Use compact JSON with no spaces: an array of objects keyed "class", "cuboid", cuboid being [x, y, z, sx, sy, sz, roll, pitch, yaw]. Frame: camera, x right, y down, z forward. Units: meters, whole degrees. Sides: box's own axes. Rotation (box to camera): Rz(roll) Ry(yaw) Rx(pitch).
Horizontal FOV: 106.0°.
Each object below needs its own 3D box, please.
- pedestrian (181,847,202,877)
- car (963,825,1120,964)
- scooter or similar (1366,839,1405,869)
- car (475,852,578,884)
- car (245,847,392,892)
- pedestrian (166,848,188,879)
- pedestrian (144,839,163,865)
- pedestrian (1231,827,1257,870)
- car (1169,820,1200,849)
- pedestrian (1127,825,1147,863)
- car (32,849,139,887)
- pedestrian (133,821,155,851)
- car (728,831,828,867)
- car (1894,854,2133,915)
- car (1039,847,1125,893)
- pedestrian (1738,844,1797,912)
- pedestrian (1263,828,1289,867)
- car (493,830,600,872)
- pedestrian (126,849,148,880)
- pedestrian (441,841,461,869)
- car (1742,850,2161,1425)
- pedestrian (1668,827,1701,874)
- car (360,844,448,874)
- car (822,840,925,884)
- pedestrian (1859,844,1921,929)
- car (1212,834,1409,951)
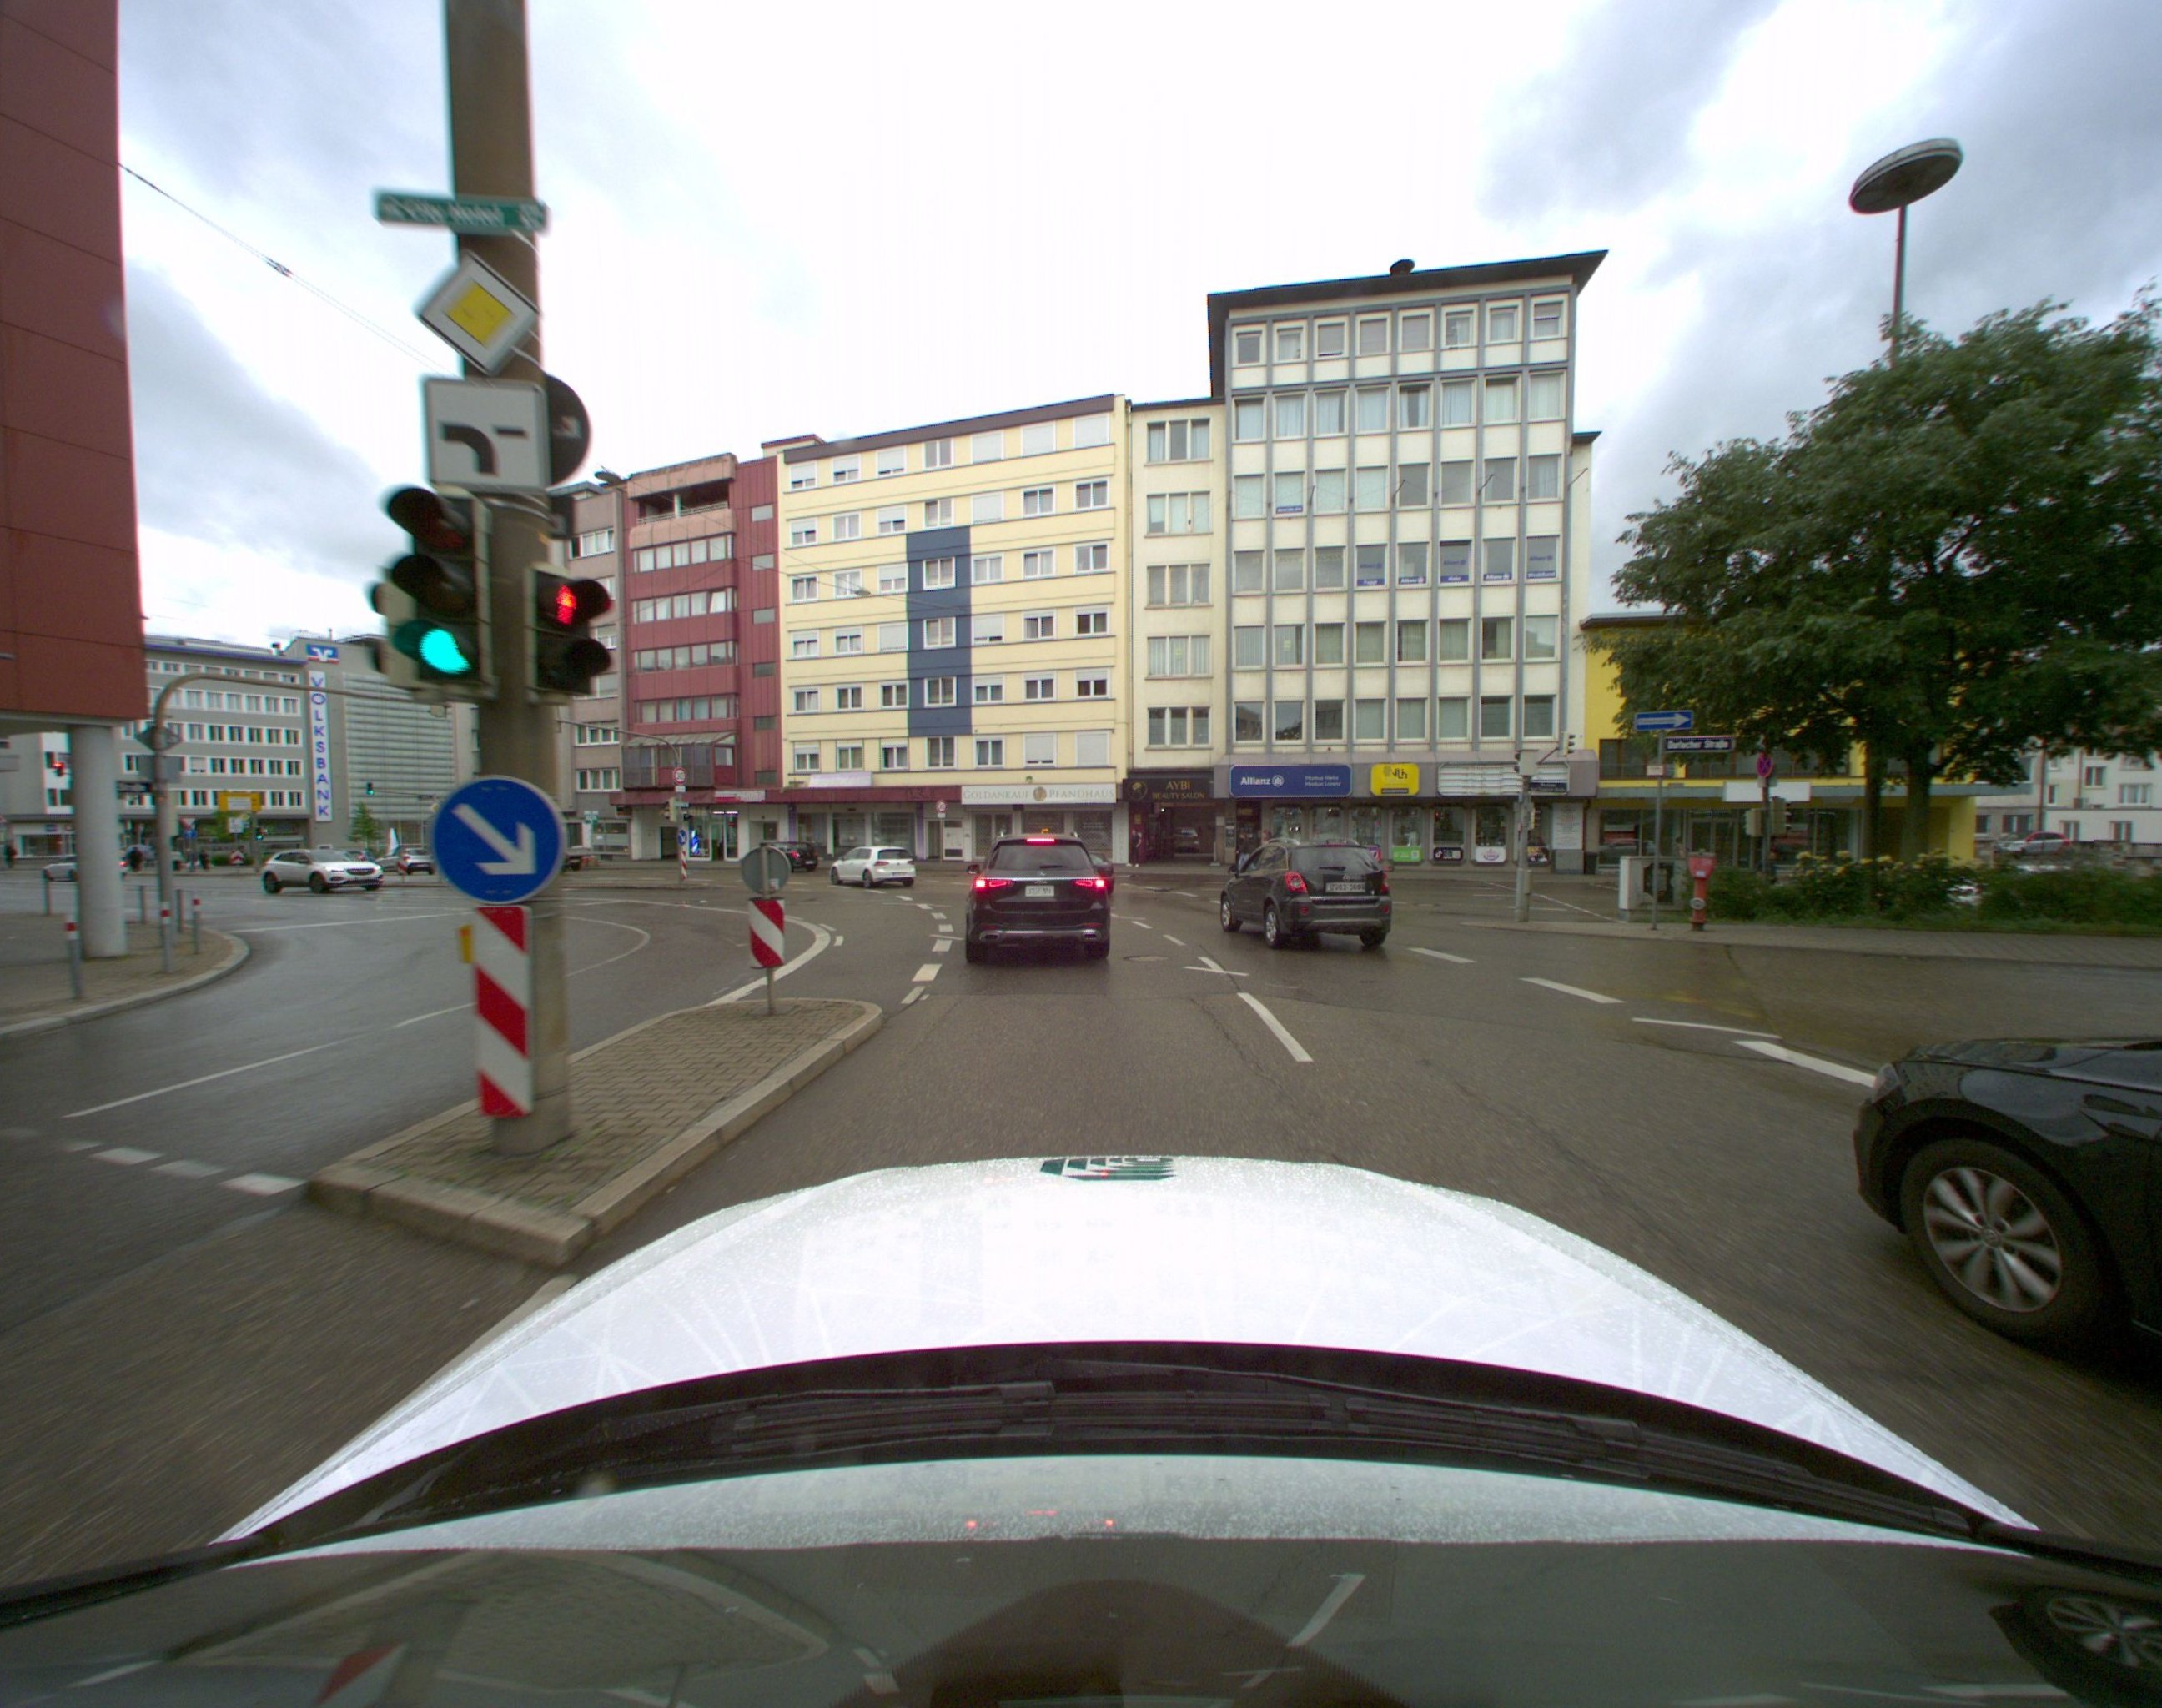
[{"class":"pedestrian","cuboid":[-60.242,0.503,55.177,0.844,2.013,0.819,-1,0,32]},{"class":"car","cuboid":[-0.680,0.520,12.905,2.035,1.799,4.655,0,0,-5]},{"class":"scooter or similar","cuboid":[13.457,-0.006,36.009,1.502,1.210,0.623,3,6,13]},{"class":"car","cuboid":[-27.120,0.672,39.877,4.189,1.486,2.010,-1,0,18]},{"class":"car","cuboid":[-28.702,0.575,30.676,4.682,1.556,2.010,-1,2,18]},{"class":"pedestrian","cuboid":[-59.761,0.614,53.844,0.844,2.013,0.819,-1,0,32]},{"class":"pedestrian","cuboid":[-72.201,-0.174,63.387,0.844,2.013,0.819,-1,0,32]},{"class":"pedestrian","cuboid":[7.097,-0.245,35.567,1.025,1.798,0.832,0,6,5]},{"class":"car","cuboid":[6.311,-1.152,49.916,1.788,1.670,4.007,-1,0,6]},{"class":"pedestrian","cuboid":[2.625,-0.489,38.416,0.756,1.688,0.561,-3,7,-24]},{"class":"car","cuboid":[-53.013,0.705,43.371,4.682,1.789,2.010,2,1,18]},{"class":"pedestrian","cuboid":[-62.526,-1.202,54.332,0.844,2.013,0.819,-1,0,32]},{"class":"car","cuboid":[-14.682,-0.255,39.475,4.441,1.658,1.839,1,-1,24]},{"class":"car","cuboid":[26.297,0.810,23.138,4.160,1.412,1.836,1,5,11]},{"class":"car","cuboid":[-0.056,0.496,27.105,1.771,1.397,3.977,-1,0,-17]},{"class":"pedestrian","cuboid":[19.287,0.661,22.902,0.822,1.827,0.889,2,1,-7]},{"class":"pedestrian","cuboid":[8.757,-0.302,36.663,1.025,1.688,0.832,0,6,5]},{"class":"car","cuboid":[-29.885,-0.185,45.526,5.364,2.228,2.261,1,0,21]},{"class":"pedestrian","cuboid":[-61.134,0.677,52.745,0.844,2.013,0.819,-1,0,32]},{"class":"pedestrian","cuboid":[-44.739,0.080,57.824,0.810,2.013,0.853,0,0,-6]},{"class":"car","cuboid":[3.606,0.746,1.515,1.681,1.477,4.004,0,1,3]},{"class":"pedestrian","cuboid":[24.768,-0.145,33.420,0.891,1.827,0.675,4,-2,-20]},{"class":"car","cuboid":[-37.926,0.262,45.609,4.605,1.515,1.942,1,-2,25]},{"class":"car","cuboid":[-7.709,0.267,30.031,1.889,1.495,4.348,1,0,-41]},{"class":"pedestrian","cuboid":[17.986,0.729,18.117,0.709,1.828,0.679,3,-3,3]},{"class":"car","cuboid":[3.756,0.532,14.242,1.894,1.695,4.498,-1,1,-5]}]
